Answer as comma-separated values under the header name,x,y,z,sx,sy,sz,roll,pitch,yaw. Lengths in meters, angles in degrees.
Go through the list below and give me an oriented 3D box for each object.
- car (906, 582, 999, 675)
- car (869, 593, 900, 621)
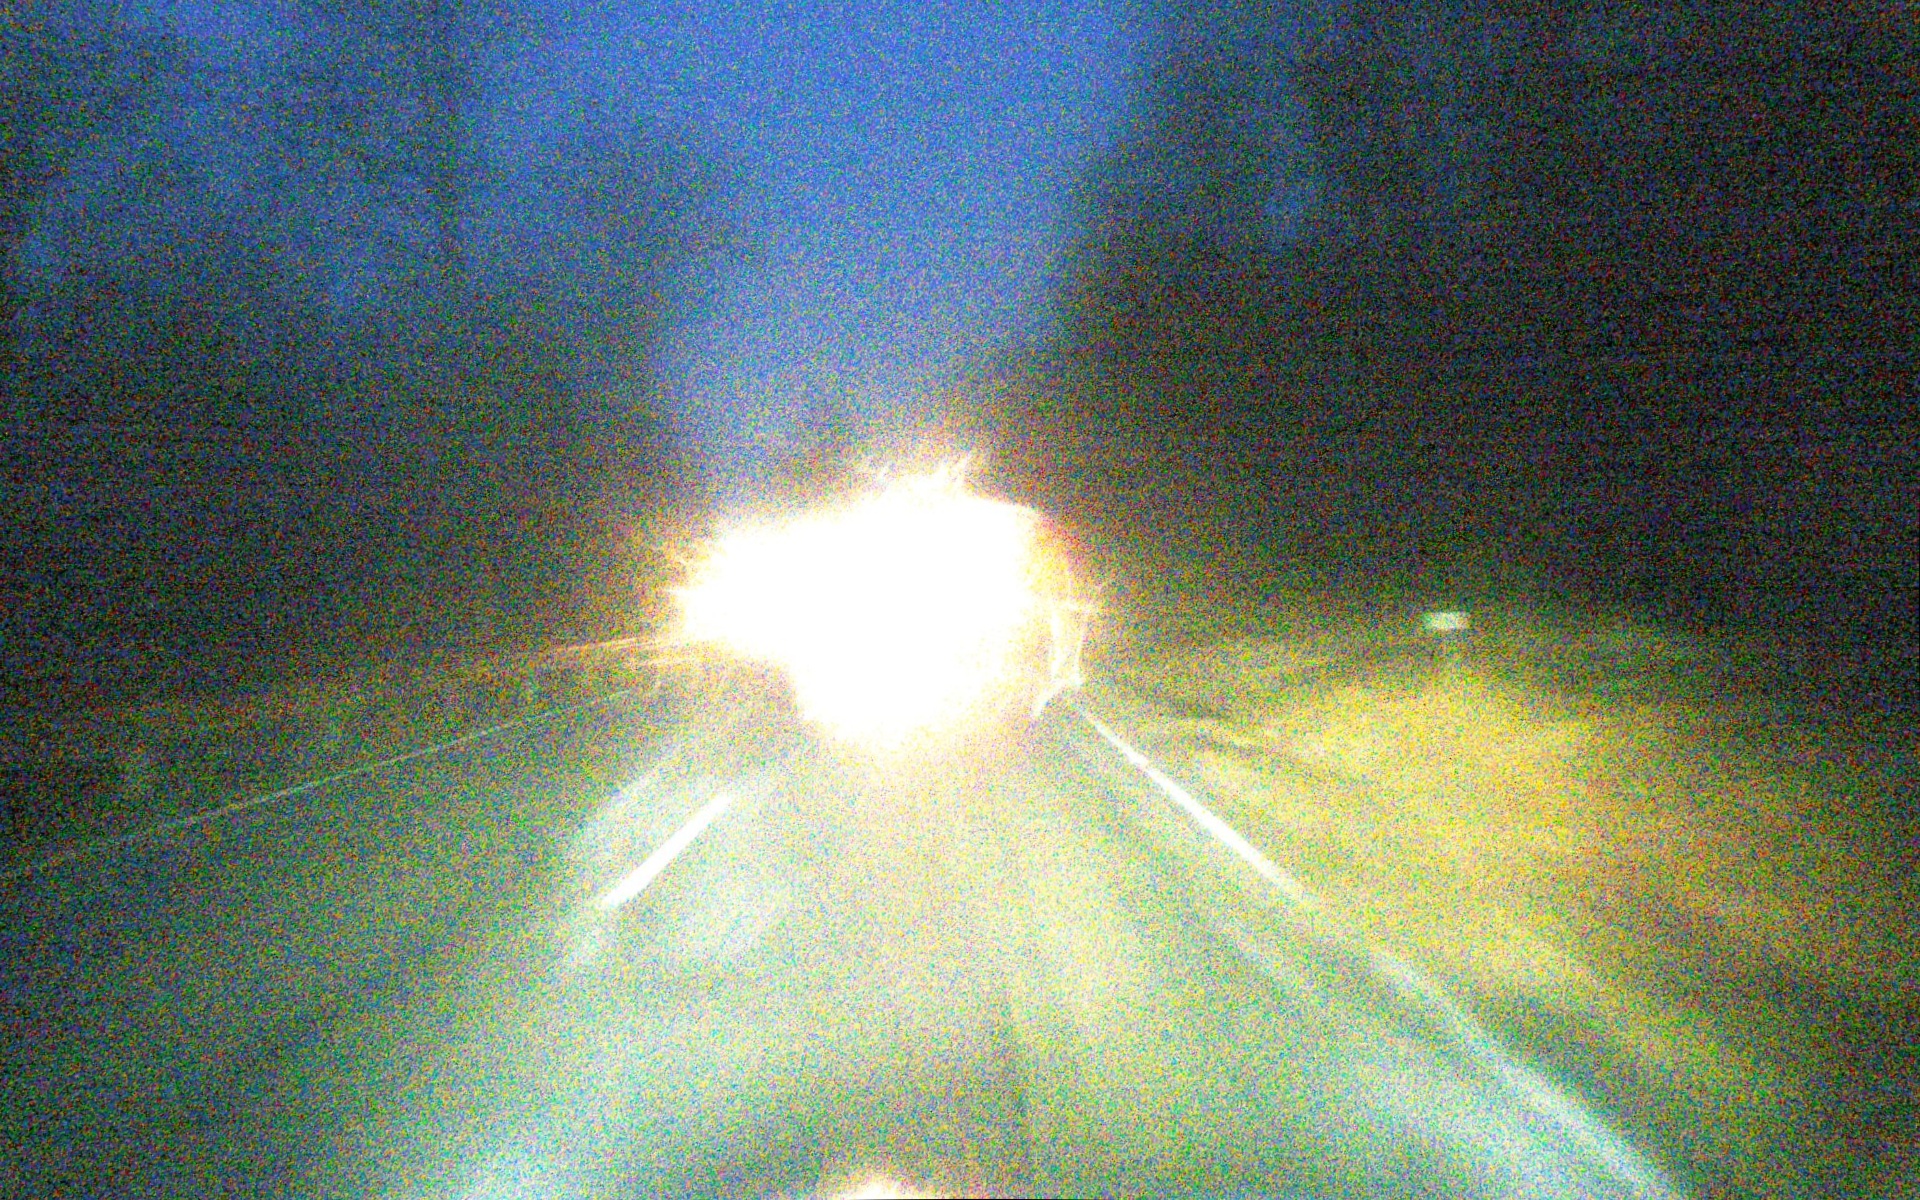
name,x,y,z,sx,sy,sz,roll,pitch,yaw
car,-0.217,0.588,37.432,1.953,1.838,3.917,-2,2,-2
car,-4.975,0.447,108.283,1.604,1.608,3.737,-2,2,-9
